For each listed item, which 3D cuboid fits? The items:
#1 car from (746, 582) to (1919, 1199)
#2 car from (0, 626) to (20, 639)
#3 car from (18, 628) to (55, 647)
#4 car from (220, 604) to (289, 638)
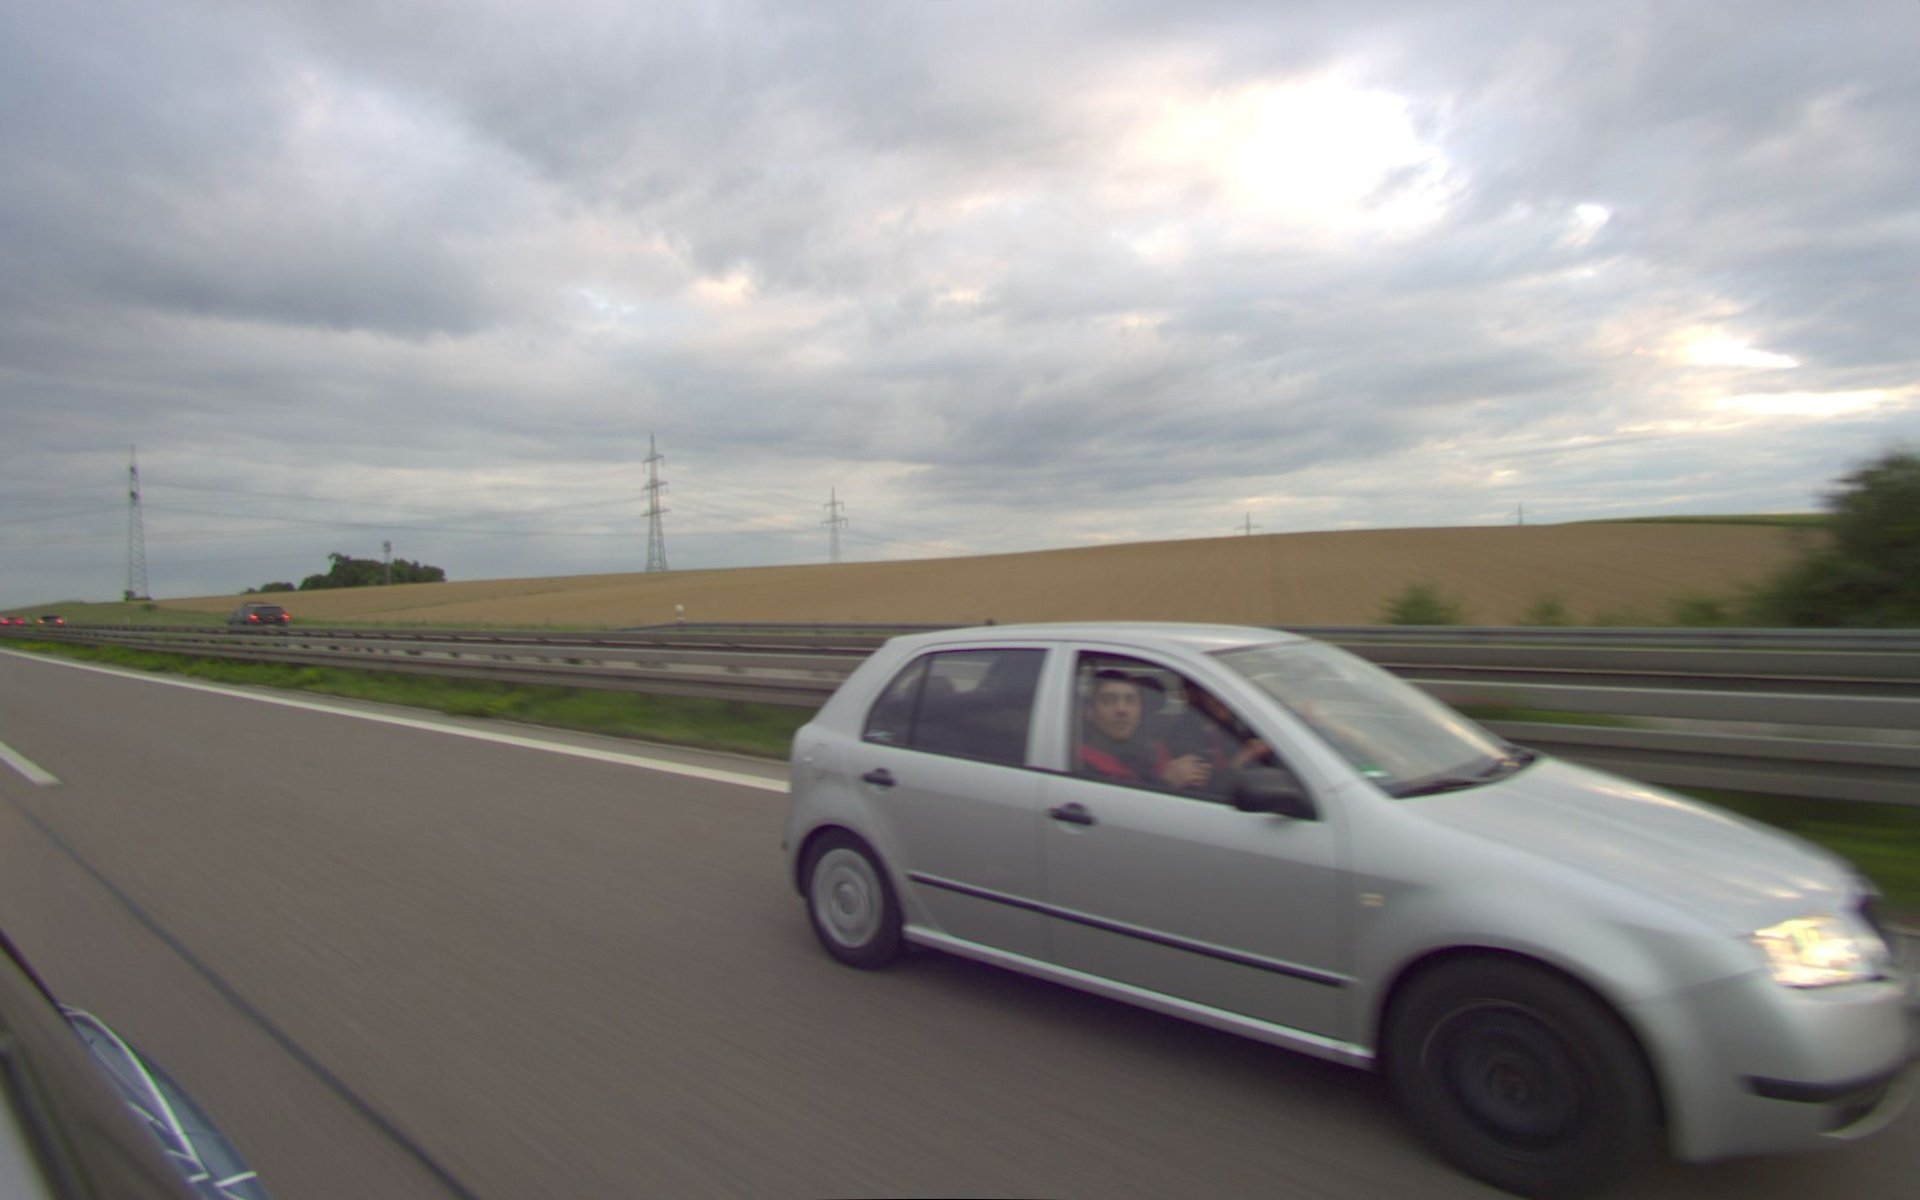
[{"bbox_3d":[1.324,0.684,3.451,4.599,1.400,1.572,-1,-1,41],"label":"car"},{"bbox_3d":[-104.968,3.600,111.544,4.618,1.375,1.550,-2,2,42],"label":"car"},{"bbox_3d":[-78.333,3.212,85.820,4.126,1.451,1.644,-2,1,39],"label":"car"},{"bbox_3d":[-39.910,1.204,57.153,5.767,1.706,1.867,-2,2,42],"label":"car"}]
